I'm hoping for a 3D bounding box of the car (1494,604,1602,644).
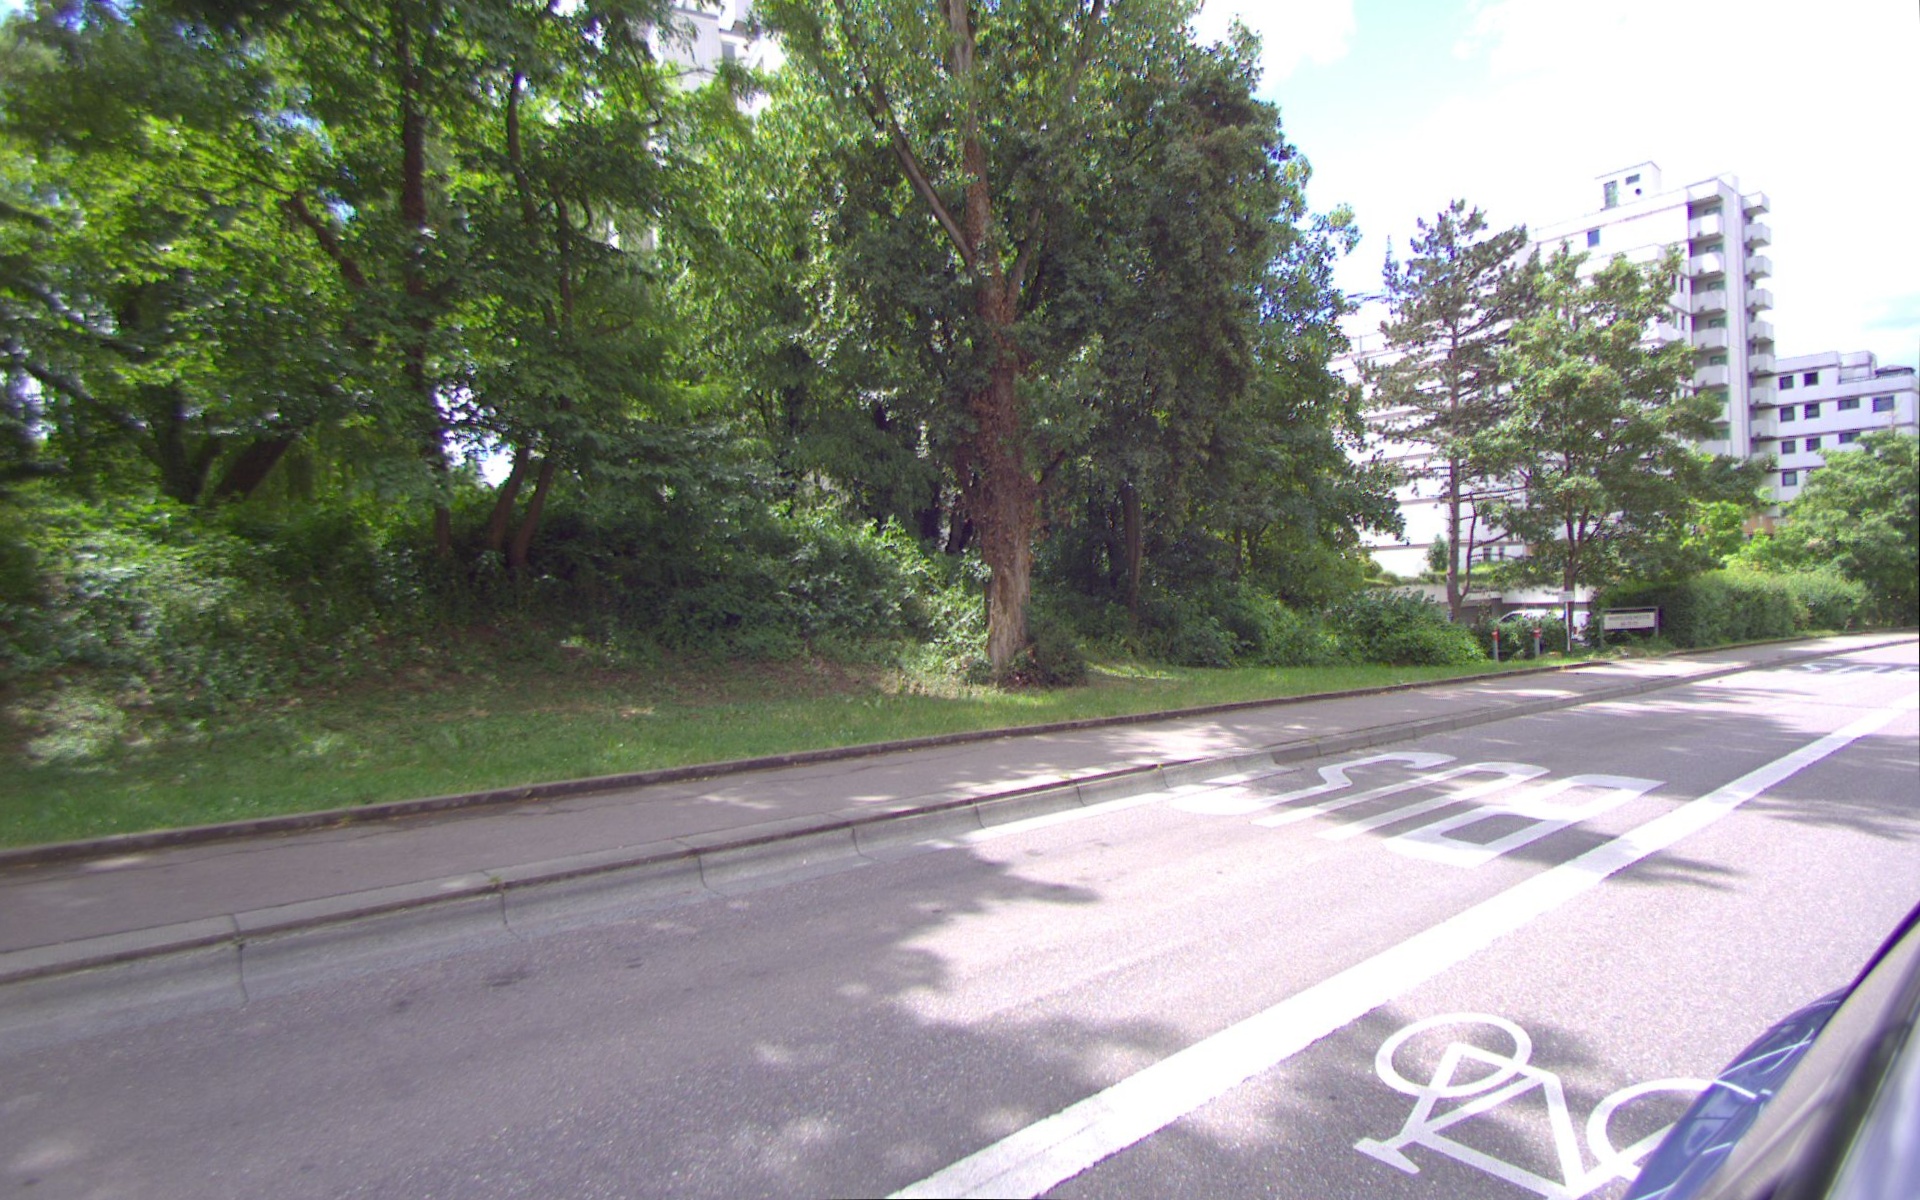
[{"bbox_3d":[31.139,1.223,53.682,1.962,2.039,4.549,-1,0,-34],"label":"car"}]
